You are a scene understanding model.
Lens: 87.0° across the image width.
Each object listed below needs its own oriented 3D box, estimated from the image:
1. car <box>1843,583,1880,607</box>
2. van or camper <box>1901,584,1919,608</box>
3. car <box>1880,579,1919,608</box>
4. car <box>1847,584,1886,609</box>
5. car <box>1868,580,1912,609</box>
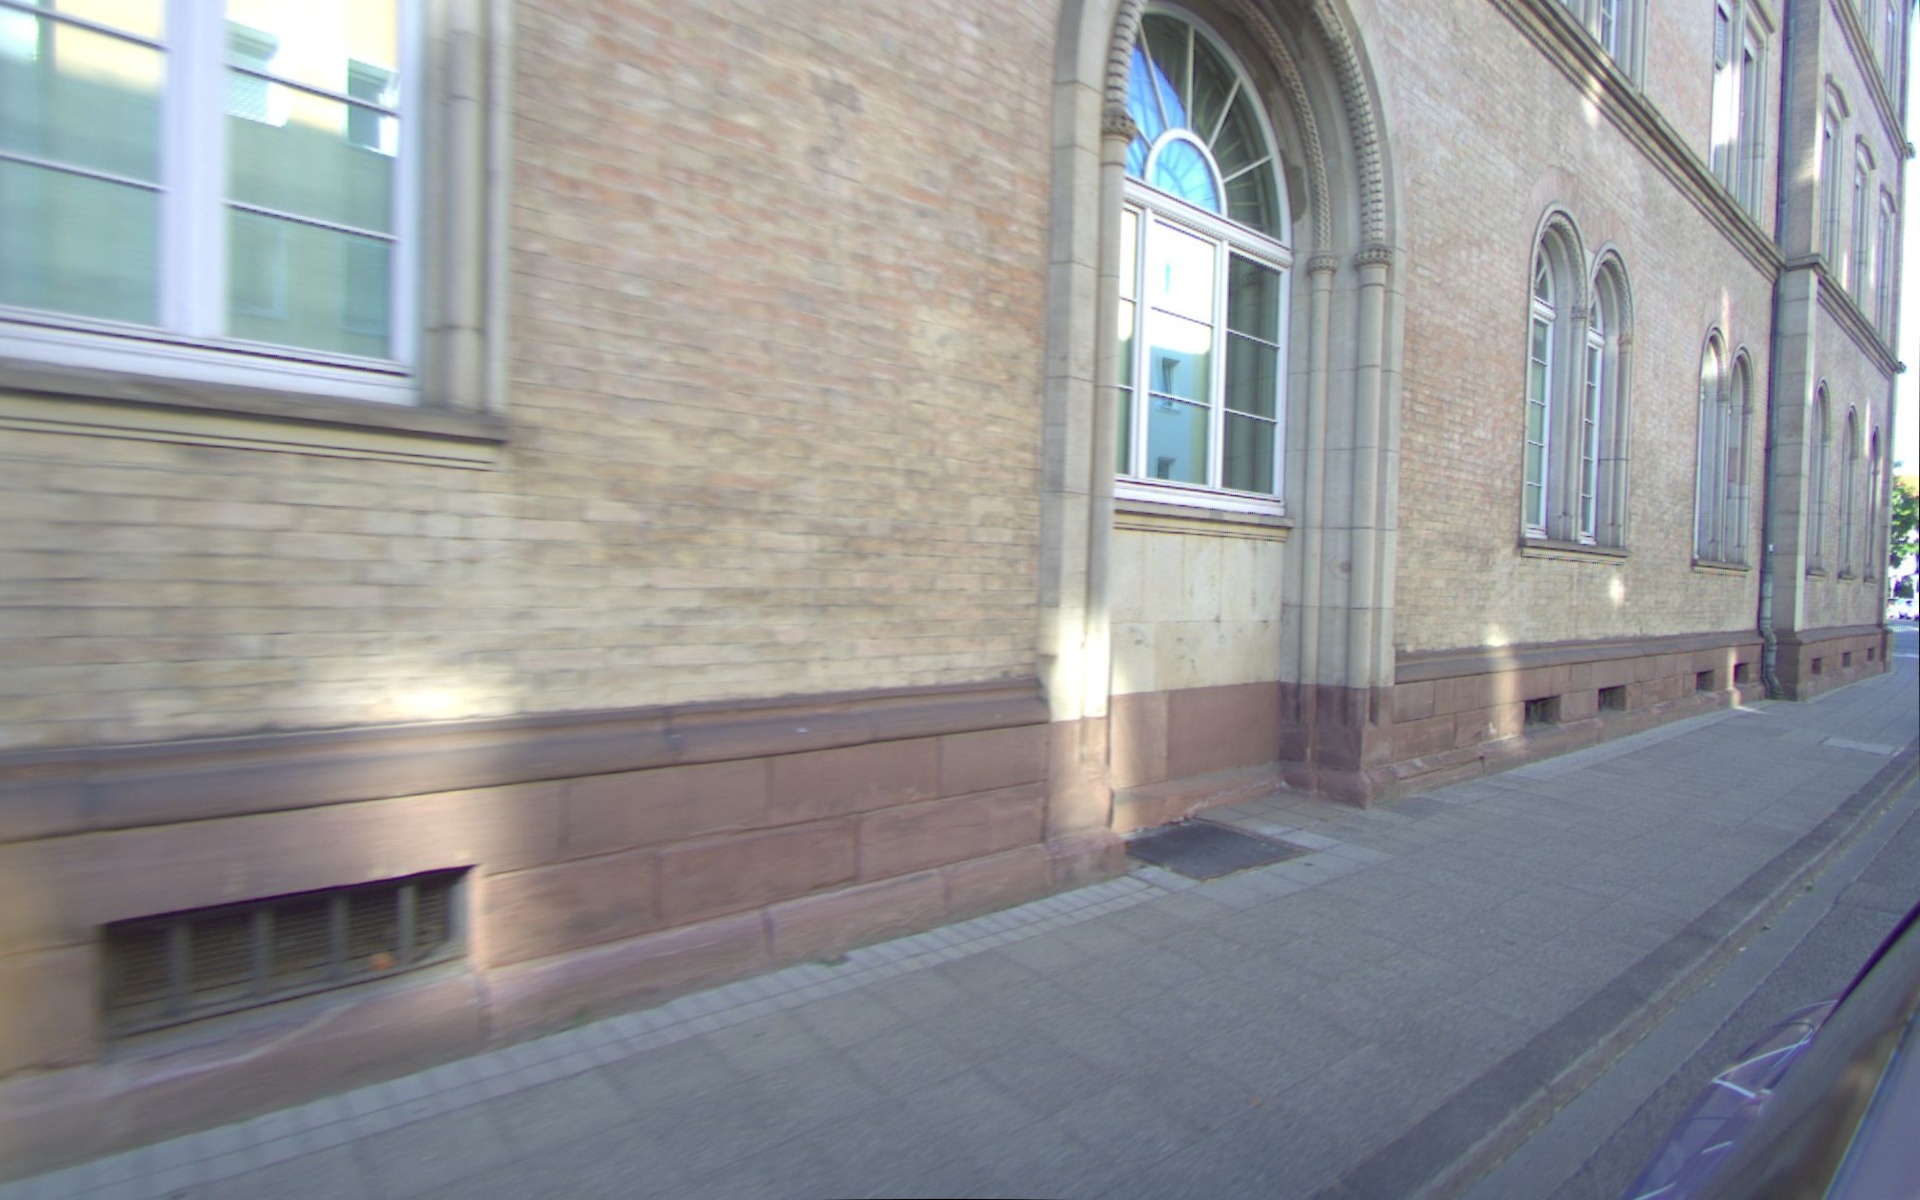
[{"bbox_3d":[79.406,-0.428,89.179,1.989,2.039,3.946,2,0,37],"label":"car"},{"bbox_3d":[87.342,-0.347,90.184,4.689,2.113,1.980,2,1,29],"label":"van or camper"},{"bbox_3d":[67.325,-0.470,72.257,1.989,2.039,3.947,2,1,37],"label":"car"},{"bbox_3d":[76.501,-0.326,85.455,1.989,2.039,3.947,2,1,37],"label":"car"},{"bbox_3d":[69.910,-0.412,76.112,1.989,2.039,3.947,2,1,37],"label":"car"}]
